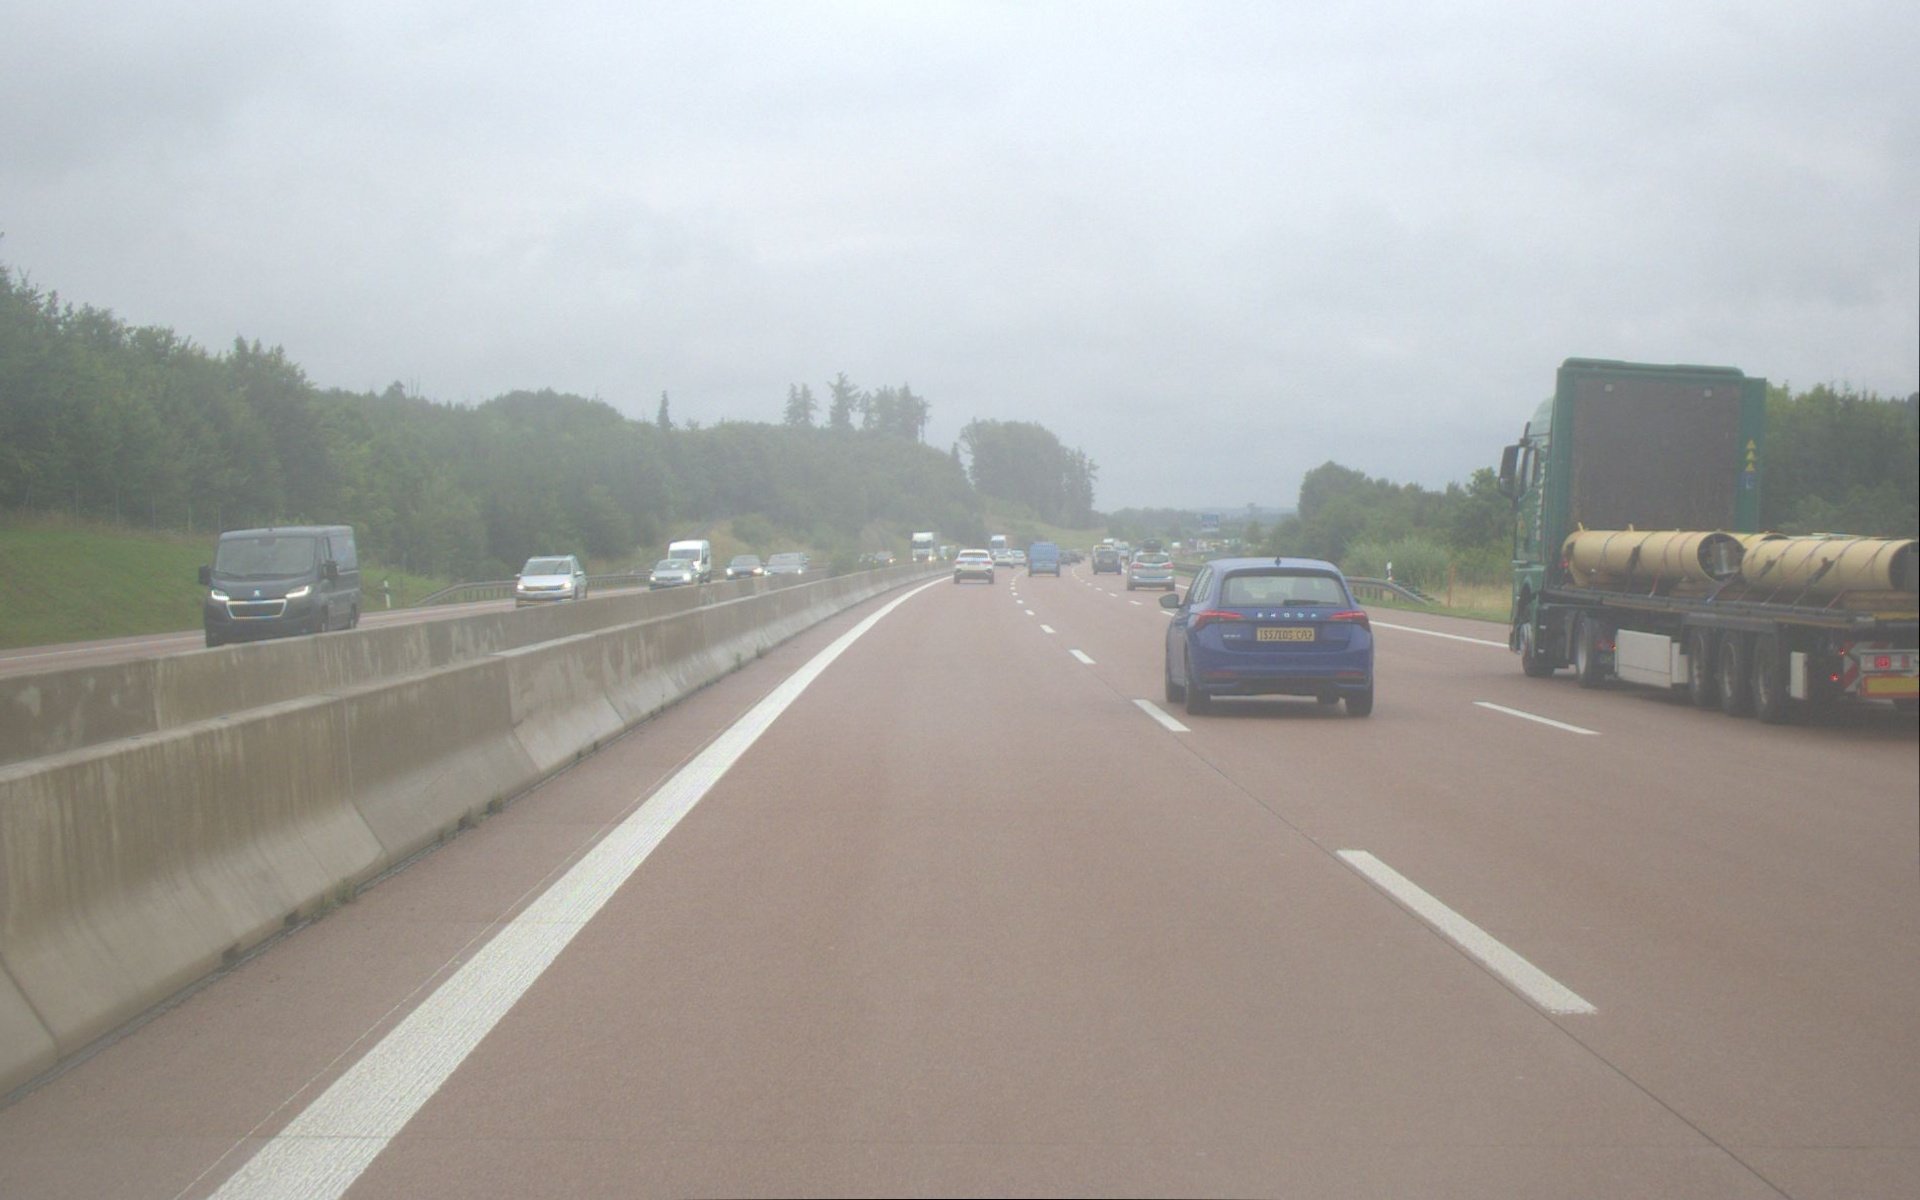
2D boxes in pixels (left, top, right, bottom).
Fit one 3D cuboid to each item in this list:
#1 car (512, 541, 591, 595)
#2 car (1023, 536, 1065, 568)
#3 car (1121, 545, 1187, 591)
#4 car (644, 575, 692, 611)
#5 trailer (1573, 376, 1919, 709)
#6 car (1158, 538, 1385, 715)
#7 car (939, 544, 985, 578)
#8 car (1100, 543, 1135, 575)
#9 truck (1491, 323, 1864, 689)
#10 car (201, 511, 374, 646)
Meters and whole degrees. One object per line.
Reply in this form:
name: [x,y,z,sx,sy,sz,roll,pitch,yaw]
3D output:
car: [-12.381,-0.985,104.439,1.788,1.551,4.866,-2,1,0]
car: [4.909,-2.781,201.422,2.322,1.744,4.877,1,0,0]
car: [7.664,-1.251,136.098,2.322,1.744,4.877,1,0,0]
car: [-12.394,-0.297,146.054,1.649,1.385,4.811,-3,1,-1]
trailer: [8.434,-0.420,33.327,2.881,2.666,11.398,1,0,0]
car: [2.926,0.247,33.012,1.771,1.559,4.146,1,0,0]
car: [0.066,-1.769,156.947,1.874,1.439,4.877,1,0,-2]
car: [10.156,-2.631,221.939,1.993,2.007,4.000,1,0,0]
truck: [8.398,-1.016,41.116,2.897,3.951,6.989,1,0,0]
car: [-11.986,-0.351,61.617,2.102,2.272,5.396,1,0,-1]
